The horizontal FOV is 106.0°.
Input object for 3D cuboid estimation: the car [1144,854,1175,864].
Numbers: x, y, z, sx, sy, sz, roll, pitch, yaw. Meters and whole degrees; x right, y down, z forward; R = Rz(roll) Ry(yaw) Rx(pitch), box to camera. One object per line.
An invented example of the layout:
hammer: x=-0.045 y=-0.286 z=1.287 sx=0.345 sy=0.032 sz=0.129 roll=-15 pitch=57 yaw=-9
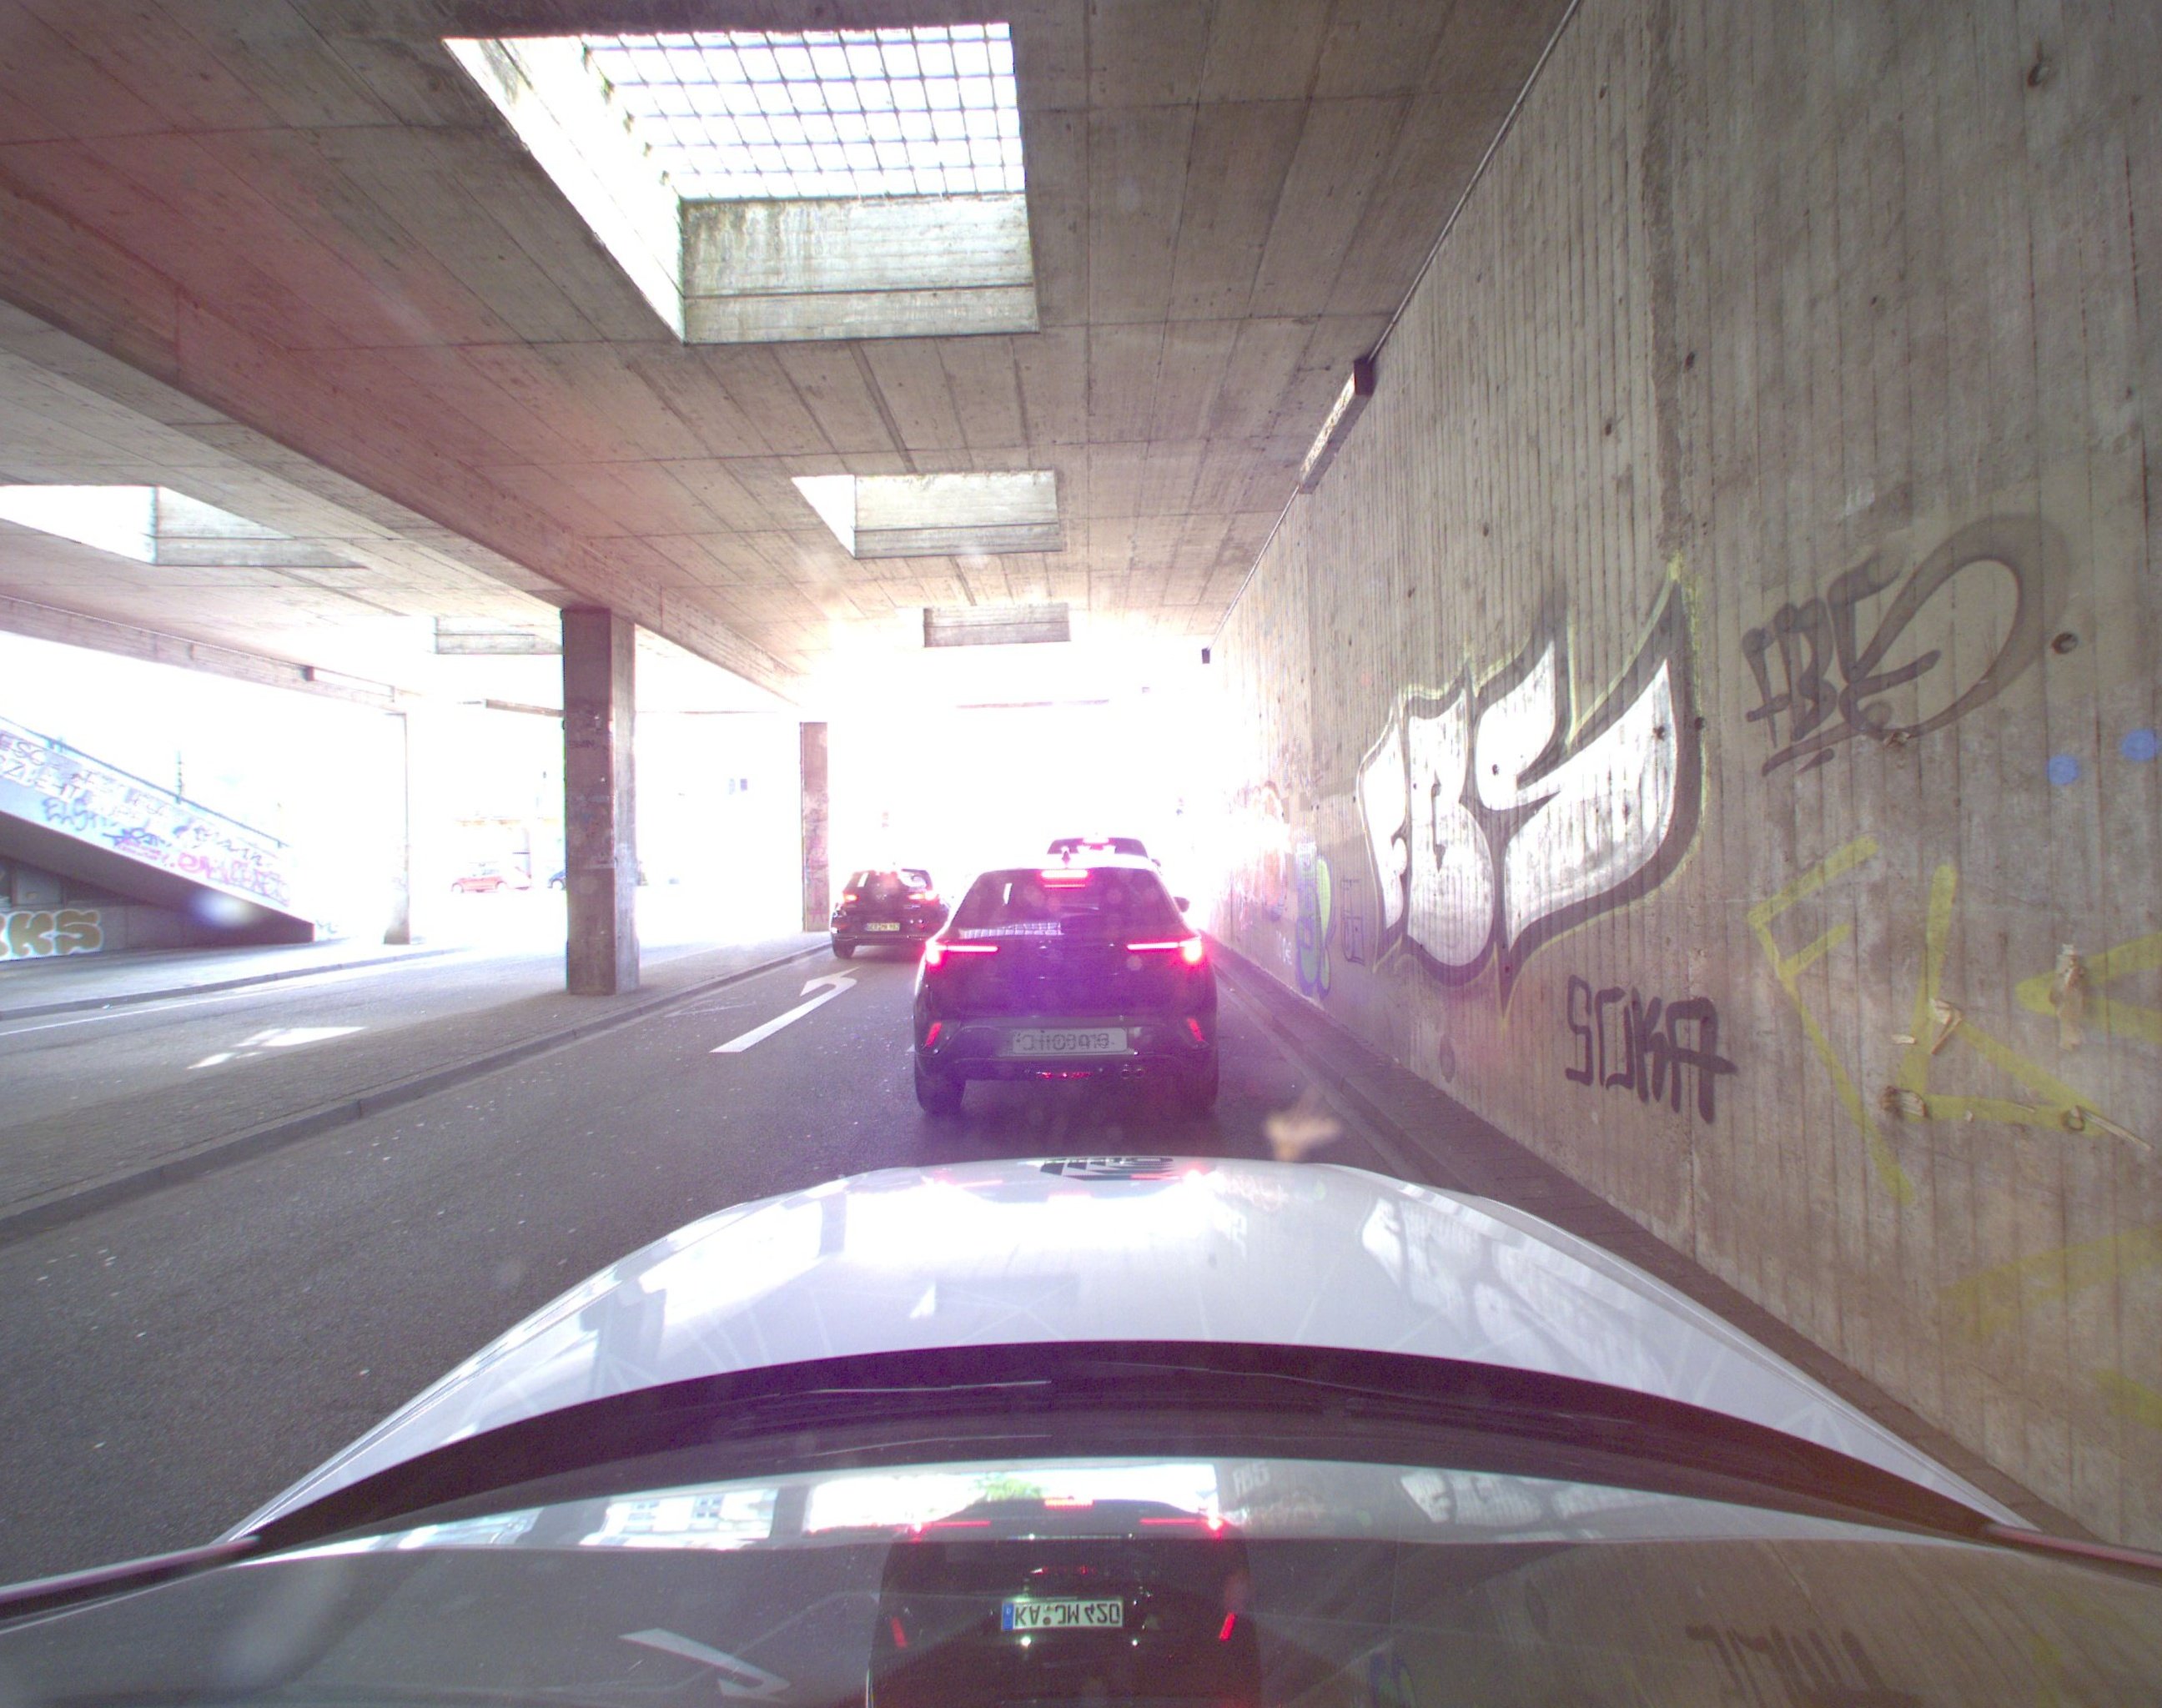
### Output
car: x=12.852 y=0.844 z=133.698 sx=4.814 sy=1.667 sz=1.812 roll=0 pitch=-1 yaw=-19

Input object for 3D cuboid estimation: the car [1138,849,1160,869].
car: x=5.759 y=0.415 z=68.367 sx=1.745 sy=1.667 sz=3.950 roll=0 pitch=-1 yaw=6

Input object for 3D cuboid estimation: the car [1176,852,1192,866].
car: x=12.855 y=0.632 z=101.673 sx=1.742 sy=1.667 sz=3.956 roll=-1 pitch=-1 yaw=11

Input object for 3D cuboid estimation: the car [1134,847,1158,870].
car: x=4.971 y=0.371 z=62.263 sx=1.745 sy=1.667 sz=3.950 roll=0 pitch=-1 yaw=6

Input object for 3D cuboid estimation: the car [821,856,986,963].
car: x=-2.749 y=0.795 z=13.495 sx=1.755 sy=1.480 sz=3.846 roll=-1 pitch=0 yaw=2

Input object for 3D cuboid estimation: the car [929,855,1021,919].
car: x=-2.659 y=0.792 z=21.223 sx=1.755 sy=1.480 sz=3.846 roll=-1 pitch=0 yaw=2

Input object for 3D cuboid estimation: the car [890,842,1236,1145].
car: x=-0.029 y=0.721 z=6.236 sx=1.755 sy=1.531 sz=4.091 roll=-1 pitch=0 yaw=2

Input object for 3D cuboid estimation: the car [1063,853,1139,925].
car: x=0.493 y=0.756 z=19.394 sx=1.603 sy=1.513 sz=4.055 roll=-1 pitch=0 yaw=2

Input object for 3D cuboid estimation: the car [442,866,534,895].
car: x=-32.926 y=1.455 z=45.282 sx=3.748 sy=1.475 sz=1.749 roll=-1 pitch=-1 yaw=0

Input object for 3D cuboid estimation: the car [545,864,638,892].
car: x=-27.170 y=1.329 z=45.304 sx=4.096 sy=1.475 sz=1.737 roll=-1 pitch=-1 yaw=0

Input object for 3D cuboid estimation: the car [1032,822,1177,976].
car: x=0.356 y=0.561 z=12.175 sx=1.755 sy=1.883 sz=4.148 roll=-1 pitch=0 yaw=2
